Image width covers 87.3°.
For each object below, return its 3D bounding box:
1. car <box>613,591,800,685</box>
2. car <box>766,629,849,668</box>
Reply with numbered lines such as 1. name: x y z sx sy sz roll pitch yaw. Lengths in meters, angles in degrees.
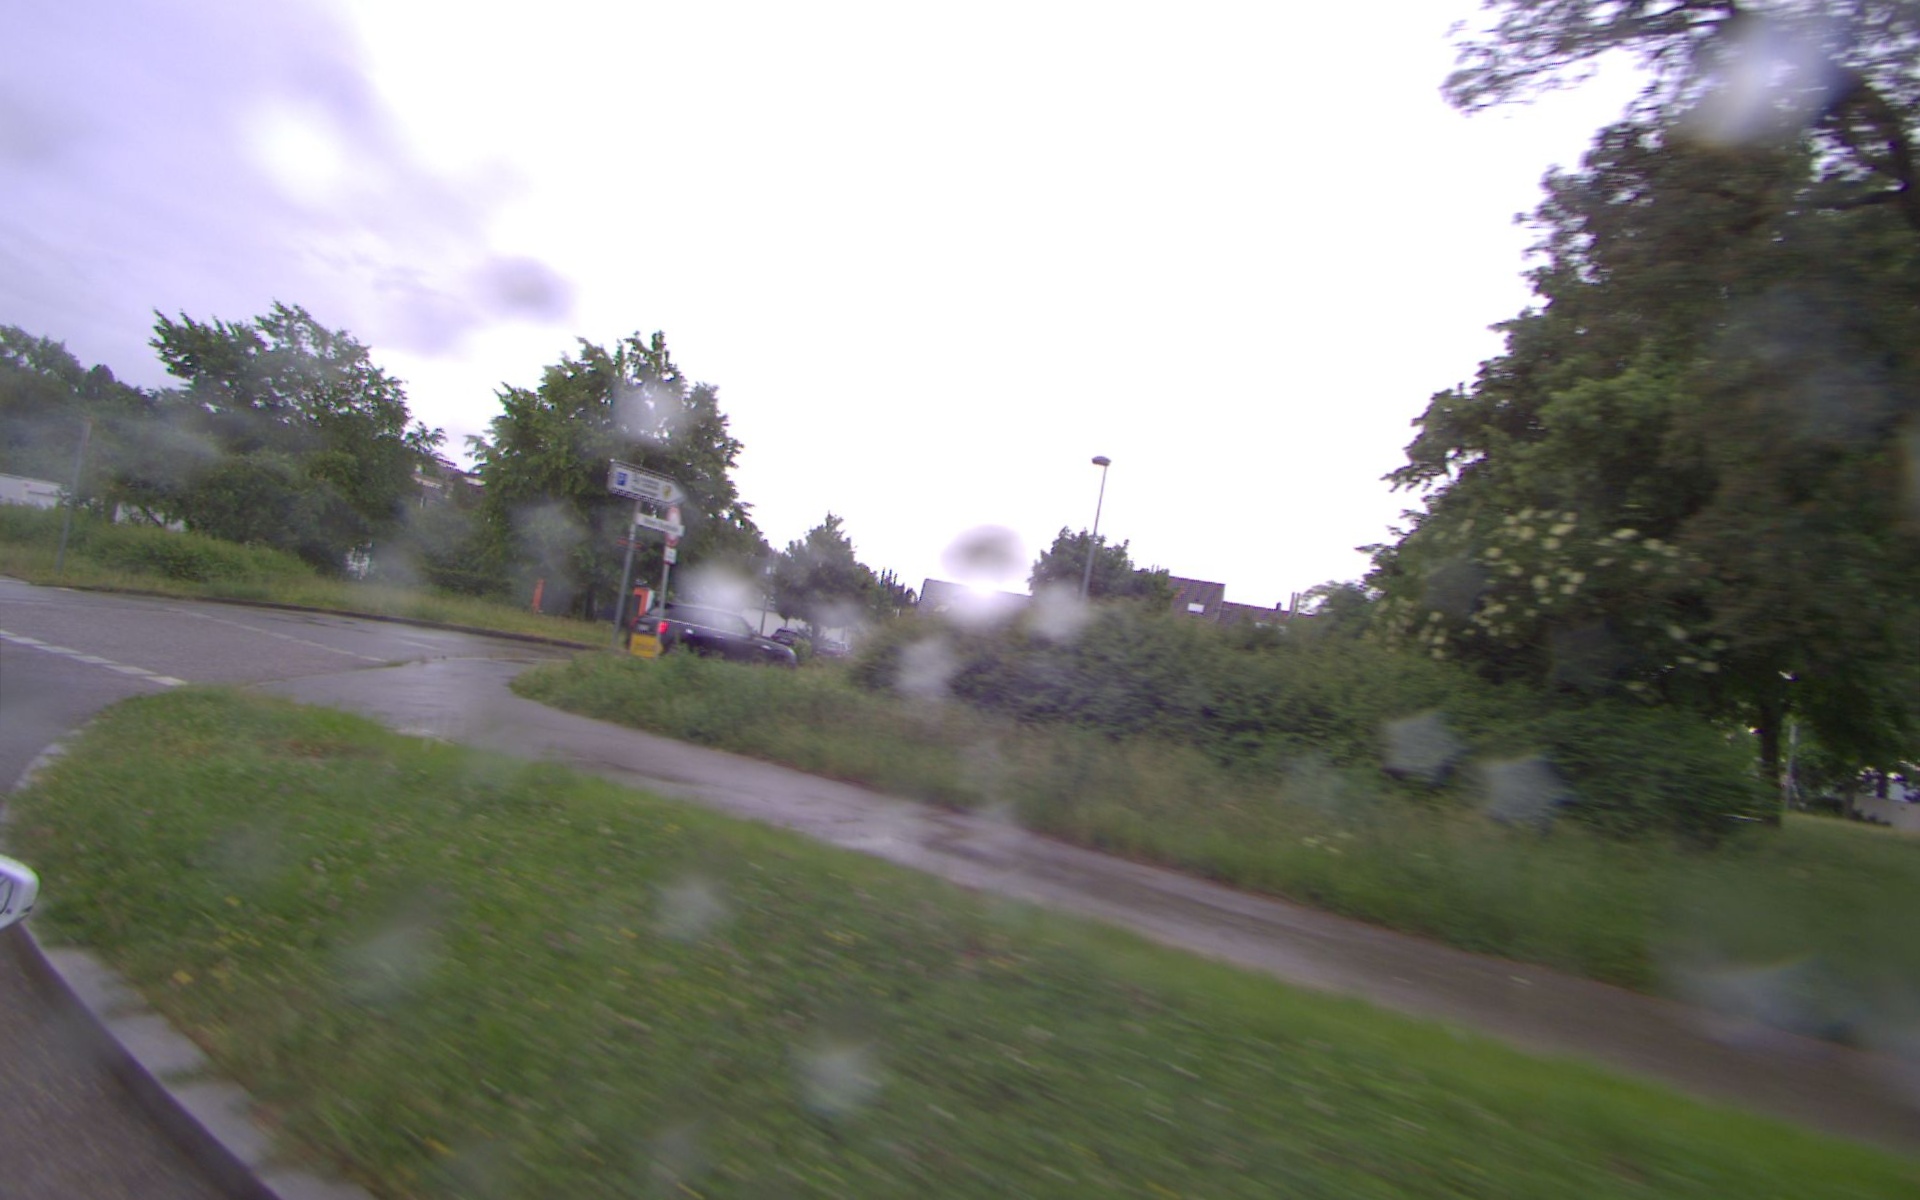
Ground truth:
1. car: -5.417 0.846 21.748 3.515 1.369 1.444 14 -6 -40
2. car: -8.824 2.808 58.455 4.474 1.770 1.914 6 -2 -2
